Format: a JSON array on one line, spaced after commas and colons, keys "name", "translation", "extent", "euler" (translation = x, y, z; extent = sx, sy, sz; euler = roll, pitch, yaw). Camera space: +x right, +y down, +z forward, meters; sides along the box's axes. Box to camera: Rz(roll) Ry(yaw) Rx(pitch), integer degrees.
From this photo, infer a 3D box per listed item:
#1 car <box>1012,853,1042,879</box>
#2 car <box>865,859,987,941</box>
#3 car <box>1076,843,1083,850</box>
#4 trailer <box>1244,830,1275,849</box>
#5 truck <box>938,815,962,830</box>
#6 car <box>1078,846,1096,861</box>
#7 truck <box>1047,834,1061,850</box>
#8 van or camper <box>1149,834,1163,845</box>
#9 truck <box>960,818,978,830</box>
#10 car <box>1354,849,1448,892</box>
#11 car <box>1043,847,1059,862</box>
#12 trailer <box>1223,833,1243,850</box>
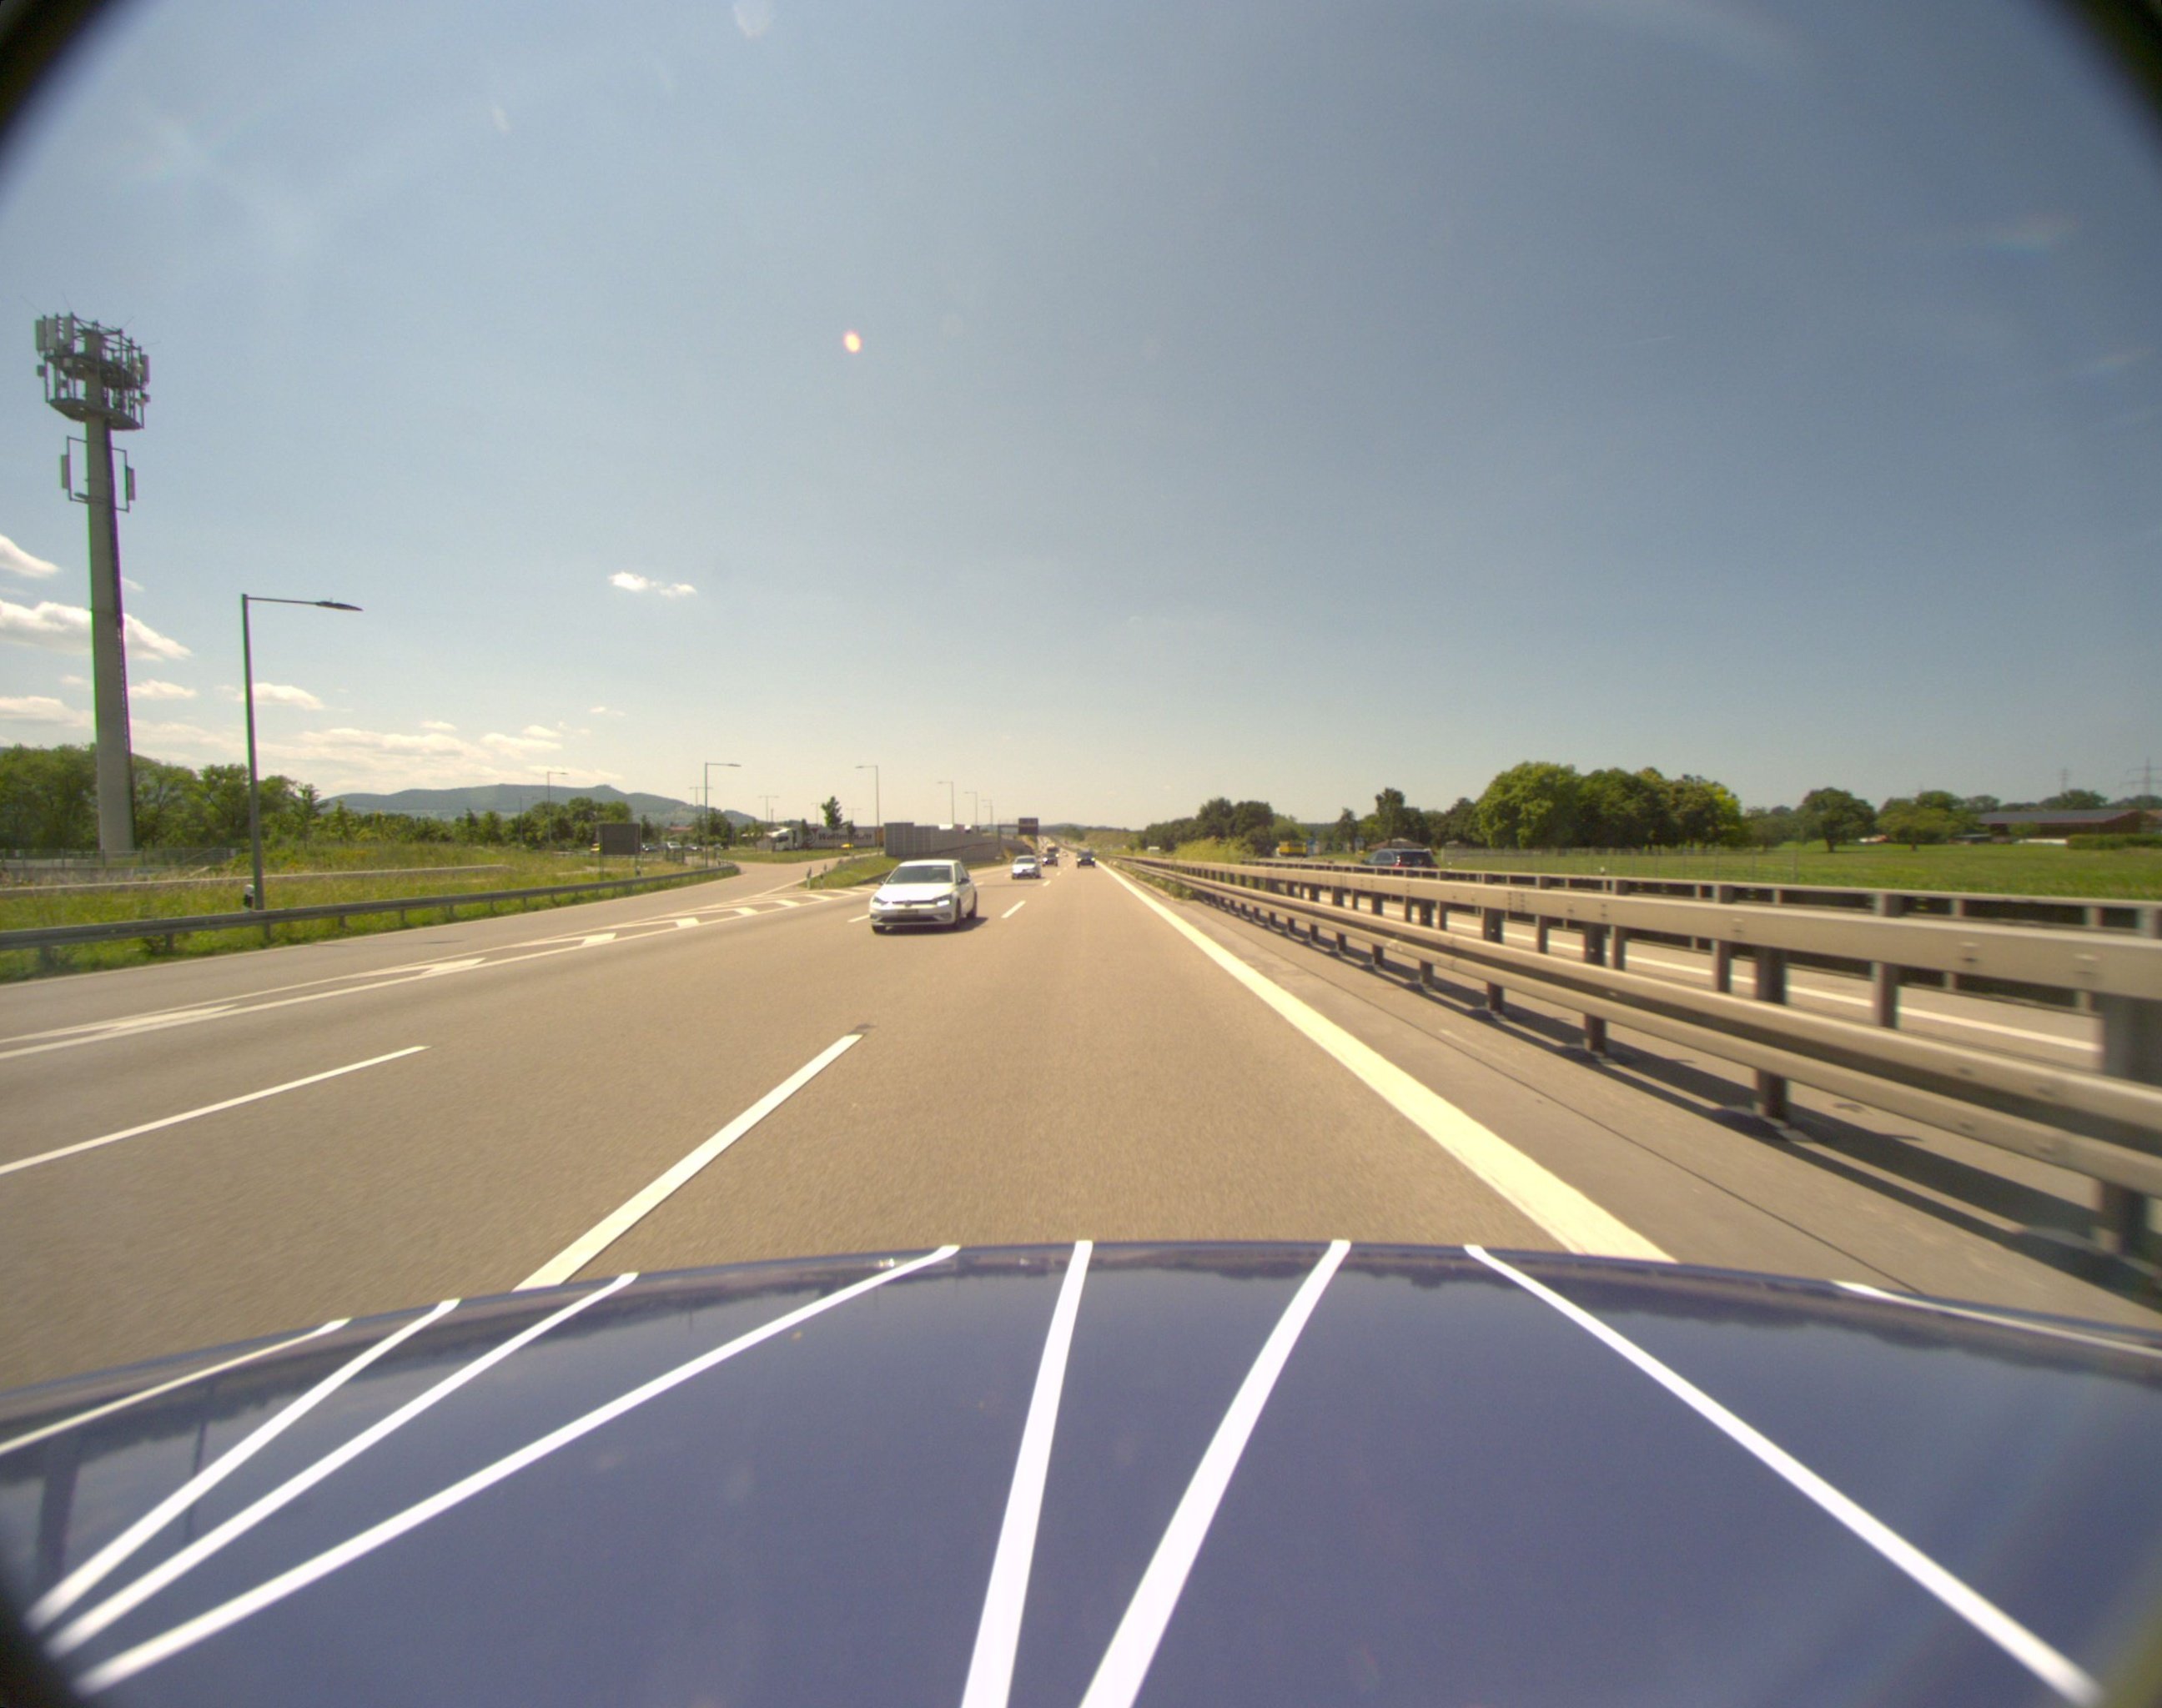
[{"name": "car", "translation": [-3.341, 0.727, 47.844], "extent": [1.635, 1.381, 3.998], "euler": [-2, 1, -1]}, {"name": "car", "translation": [-3.354, 0.924, 17.374], "extent": [1.780, 1.425, 4.690], "euler": [-2, 1, 0]}, {"name": "car", "translation": [-0.392, -2.327, 231.641], "extent": [1.998, 2.002, 3.999], "euler": [-2, 1, 0]}, {"name": "trailer", "translation": [36.781, -3.001, 156.862], "extent": [2.775, 3.757, 14.407], "euler": [-2, 1, 0]}, {"name": "truck", "translation": [-21.587, -5.238, 125.617], "extent": [2.715, 2.192, 7.284], "euler": [-2, 1, -2]}, {"name": "car", "translation": [0.586, -0.023, 76.904], "extent": [1.751, 1.439, 3.999], "euler": [-1, 1, -1]}, {"name": "truck", "translation": [-7.546, -3.380, 209.620], "extent": [3.368, 4.038, 11.731], "euler": [-2, 1, -4]}, {"name": "van or camper", "translation": [18.351, -3.522, 185.934], "extent": [2.542, 2.522, 6.706], "euler": [-1, 2, 0]}, {"name": "truck", "translation": [-22.009, -5.930, 149.959], "extent": [2.730, 2.218, 6.034], "euler": [-2, 1, -1]}, {"name": "car", "translation": [11.824, 0.577, 28.350], "extent": [1.824, 1.436, 3.999], "euler": [1, 1, 1]}, {"name": "car", "translation": [-3.513, 0.049, 89.837], "extent": [1.751, 1.559, 3.998], "euler": [-2, 1, -1]}, {"name": "trailer", "translation": [35.596, -2.950, 177.804], "extent": [2.552, 3.641, 8.710], "euler": [-2, 1, -2]}]
